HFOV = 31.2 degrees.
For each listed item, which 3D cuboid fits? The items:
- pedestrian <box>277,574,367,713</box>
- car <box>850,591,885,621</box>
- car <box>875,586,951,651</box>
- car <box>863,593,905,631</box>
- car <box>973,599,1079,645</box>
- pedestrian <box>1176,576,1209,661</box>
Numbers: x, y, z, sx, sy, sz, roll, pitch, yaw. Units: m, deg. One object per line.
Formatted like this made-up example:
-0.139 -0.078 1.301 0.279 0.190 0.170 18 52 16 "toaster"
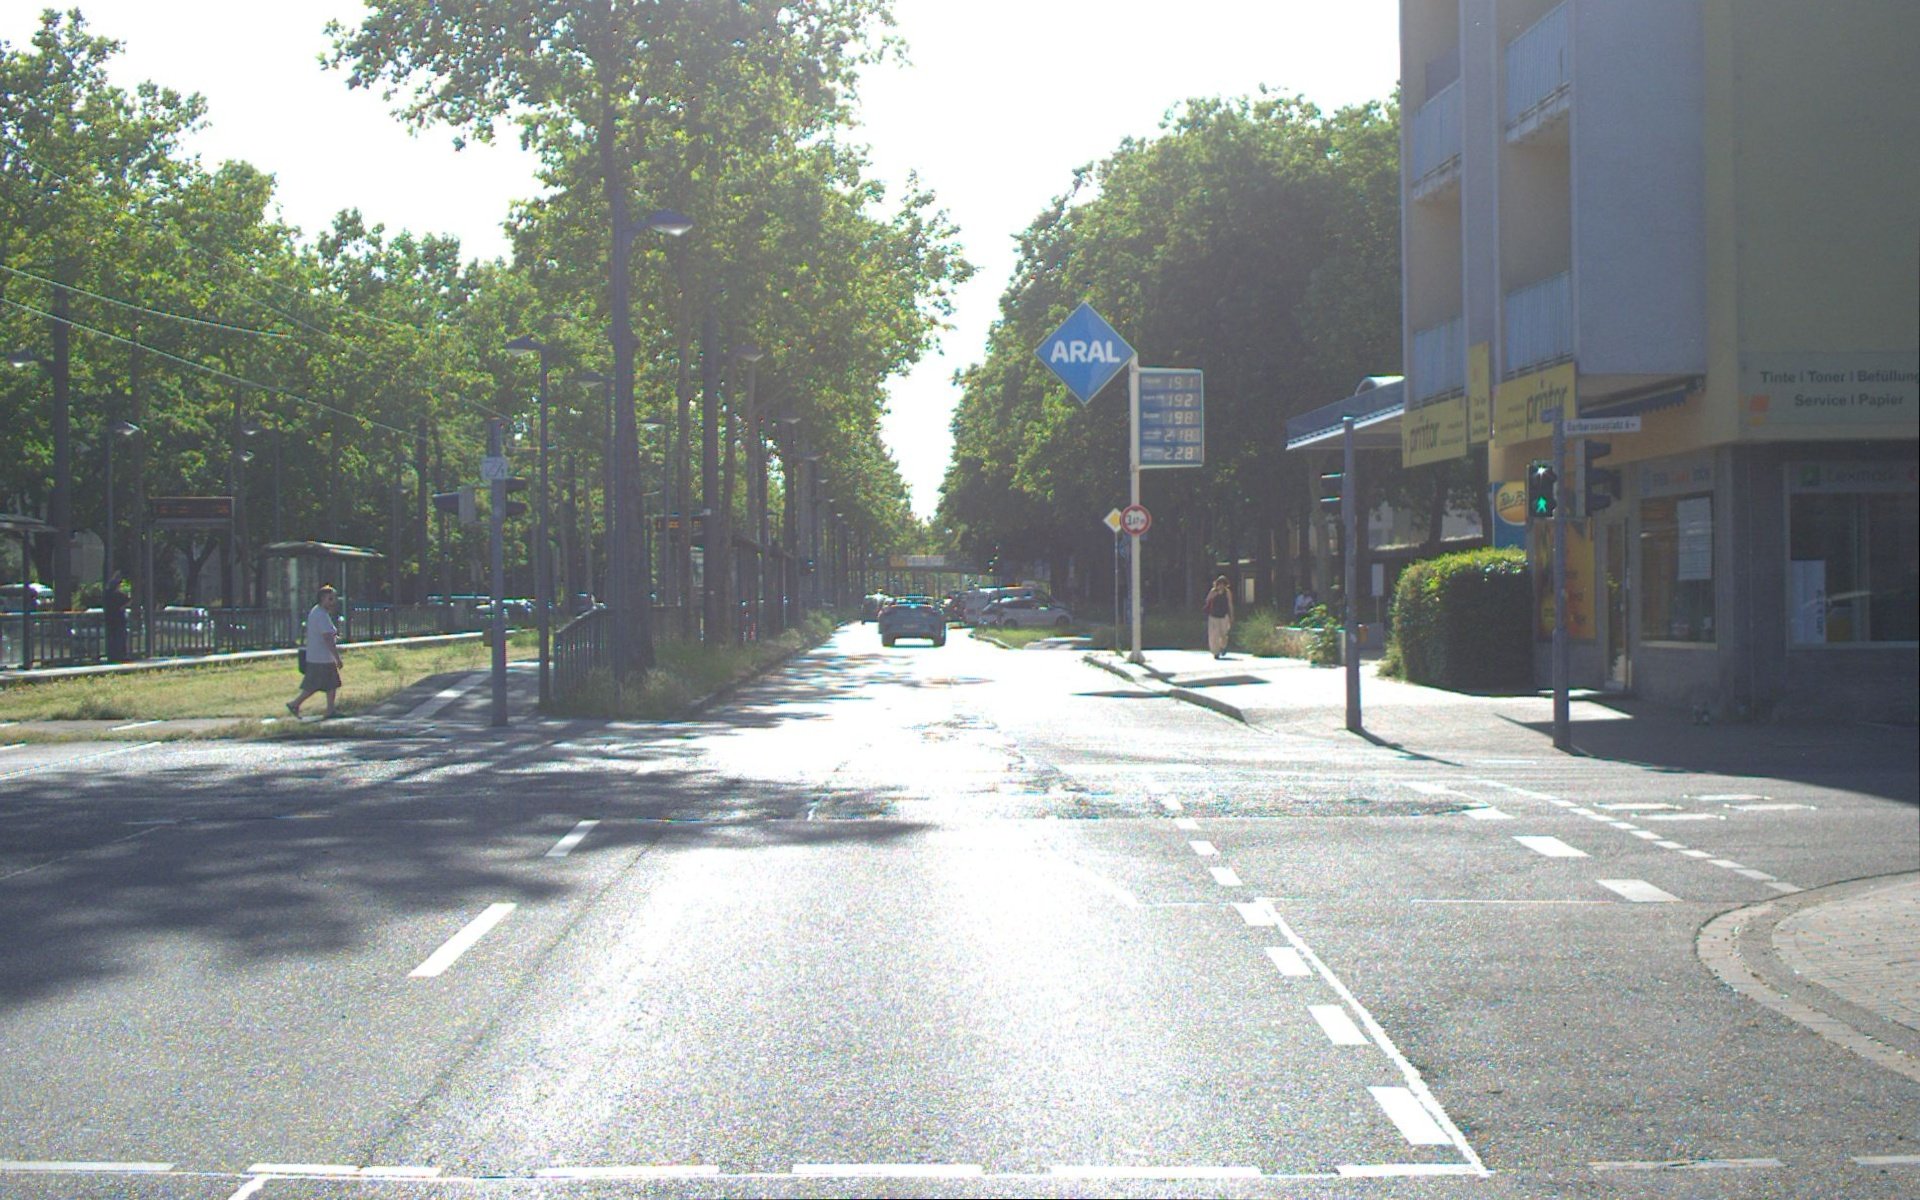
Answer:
-7.516 0.507 40.530 0.891 1.601 0.613 2 0 0 "pedestrian"
-5.177 0.310 192.126 1.894 1.605 4.500 2 0 -2 "car"
-1.401 0.541 104.123 2.005 1.853 4.000 2 0 3 "car"
-3.261 0.494 147.651 1.635 1.544 4.000 2 0 0 "car"
2.748 0.909 142.567 3.986 1.744 1.755 2 0 -29 "car"
4.826 0.386 71.327 0.574 1.741 0.506 2 0 -1 "pedestrian"
